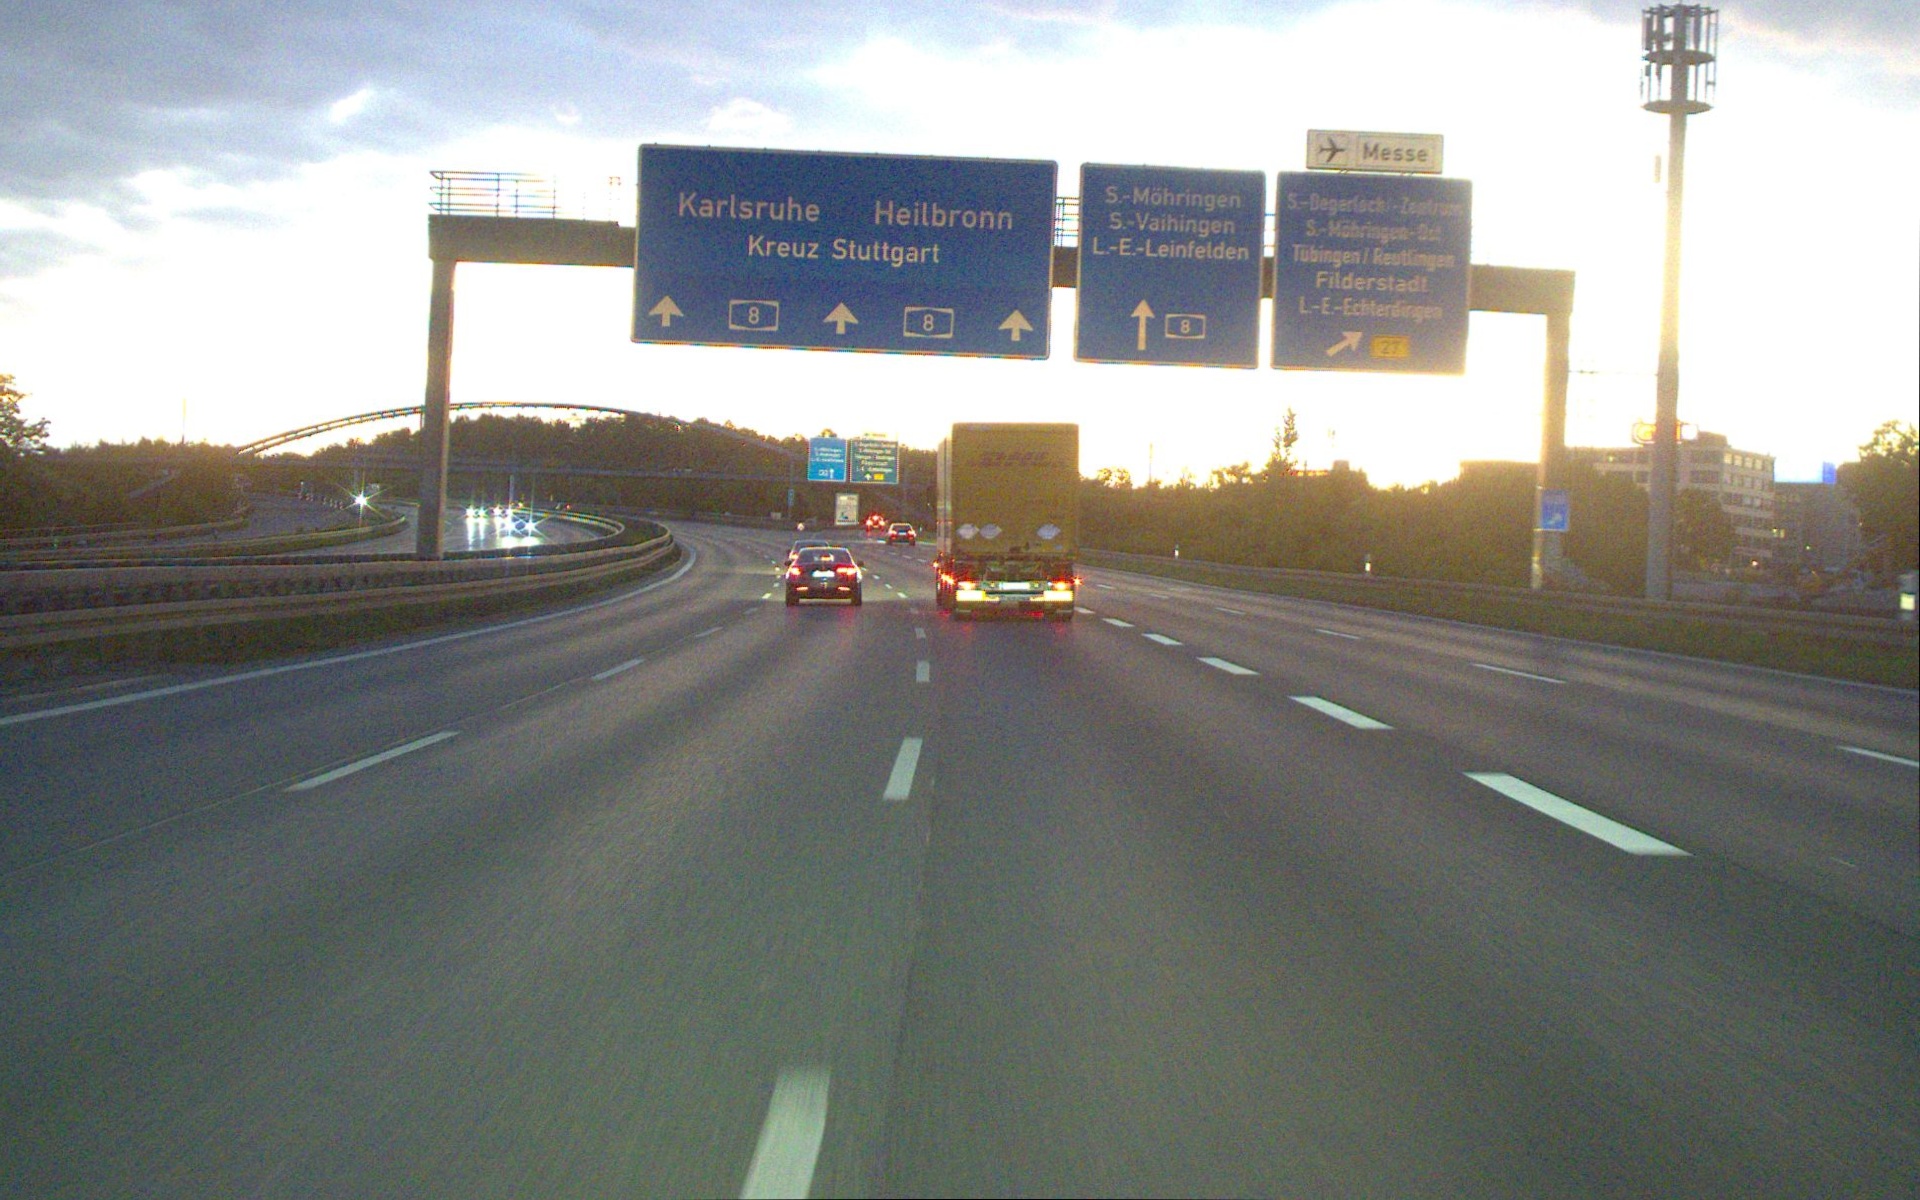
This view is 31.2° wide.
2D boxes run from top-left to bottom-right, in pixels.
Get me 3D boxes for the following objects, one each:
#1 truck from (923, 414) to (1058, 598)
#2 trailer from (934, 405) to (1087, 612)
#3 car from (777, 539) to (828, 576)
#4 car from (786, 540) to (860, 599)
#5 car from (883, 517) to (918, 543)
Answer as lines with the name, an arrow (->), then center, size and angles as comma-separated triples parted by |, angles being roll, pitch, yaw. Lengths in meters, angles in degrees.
truck -> 0.621, -2.259, 82.096 | 2.690, 4.057, 10.522 | 1, 2, -2
trailer -> 0.969, -1.937, 72.443 | 2.721, 4.057, 8.832 | 1, 2, -2
car -> -6.071, -1.629, 132.861 | 1.689, 1.396, 3.408 | 0, 0, 2
car -> -3.420, -0.749, 85.173 | 1.689, 1.396, 3.409 | 1, 0, -4
car -> -4.155, -4.847, 238.052 | 1.993, 1.711, 4.001 | 1, 0, -6
